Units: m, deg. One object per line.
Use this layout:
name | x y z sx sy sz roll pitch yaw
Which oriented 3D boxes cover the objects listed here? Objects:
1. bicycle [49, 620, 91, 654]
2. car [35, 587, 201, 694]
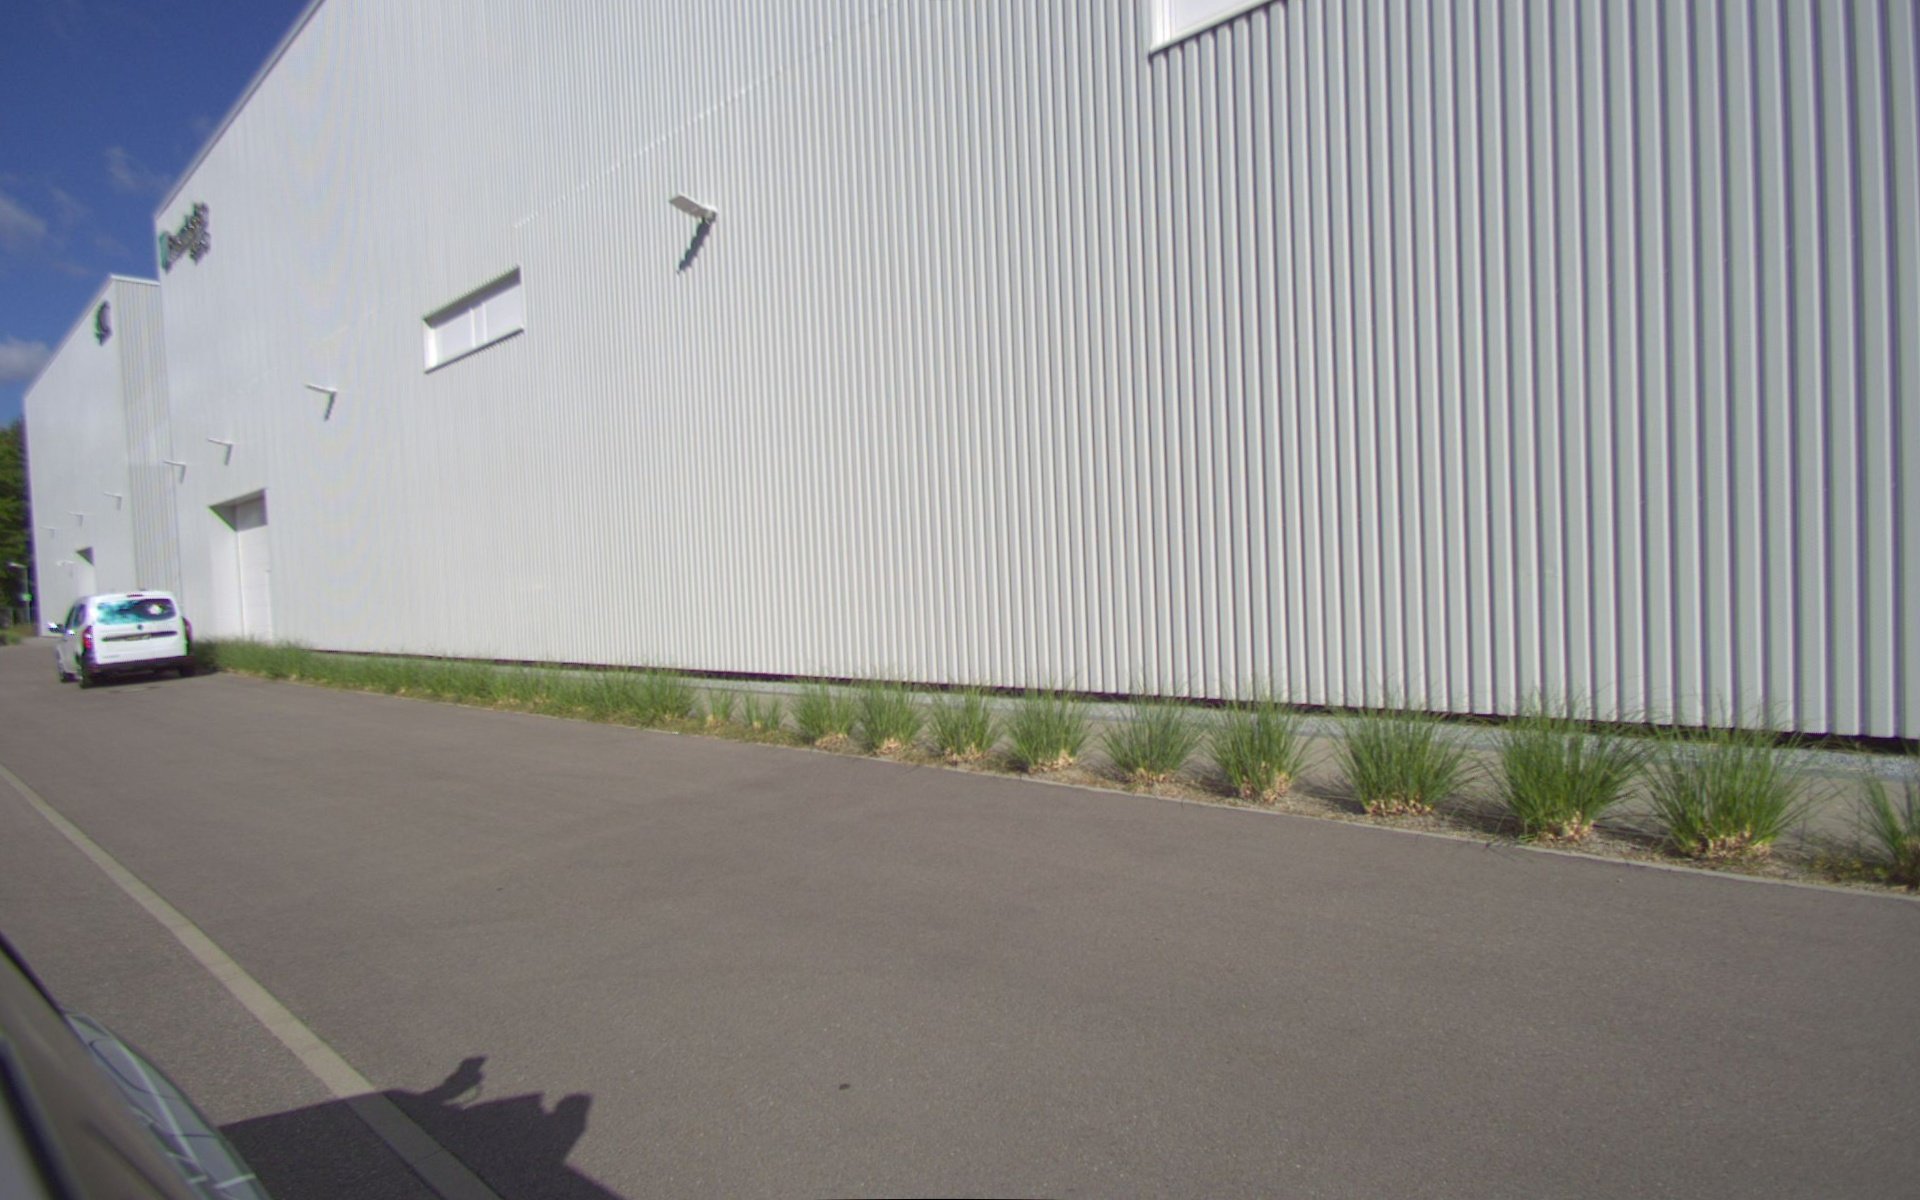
bicycle | -35.709 1.471 40.628 0.895 1.151 1.905 -7 4 -33
car | -17.473 0.793 20.935 4.356 1.859 1.871 -2 3 41
